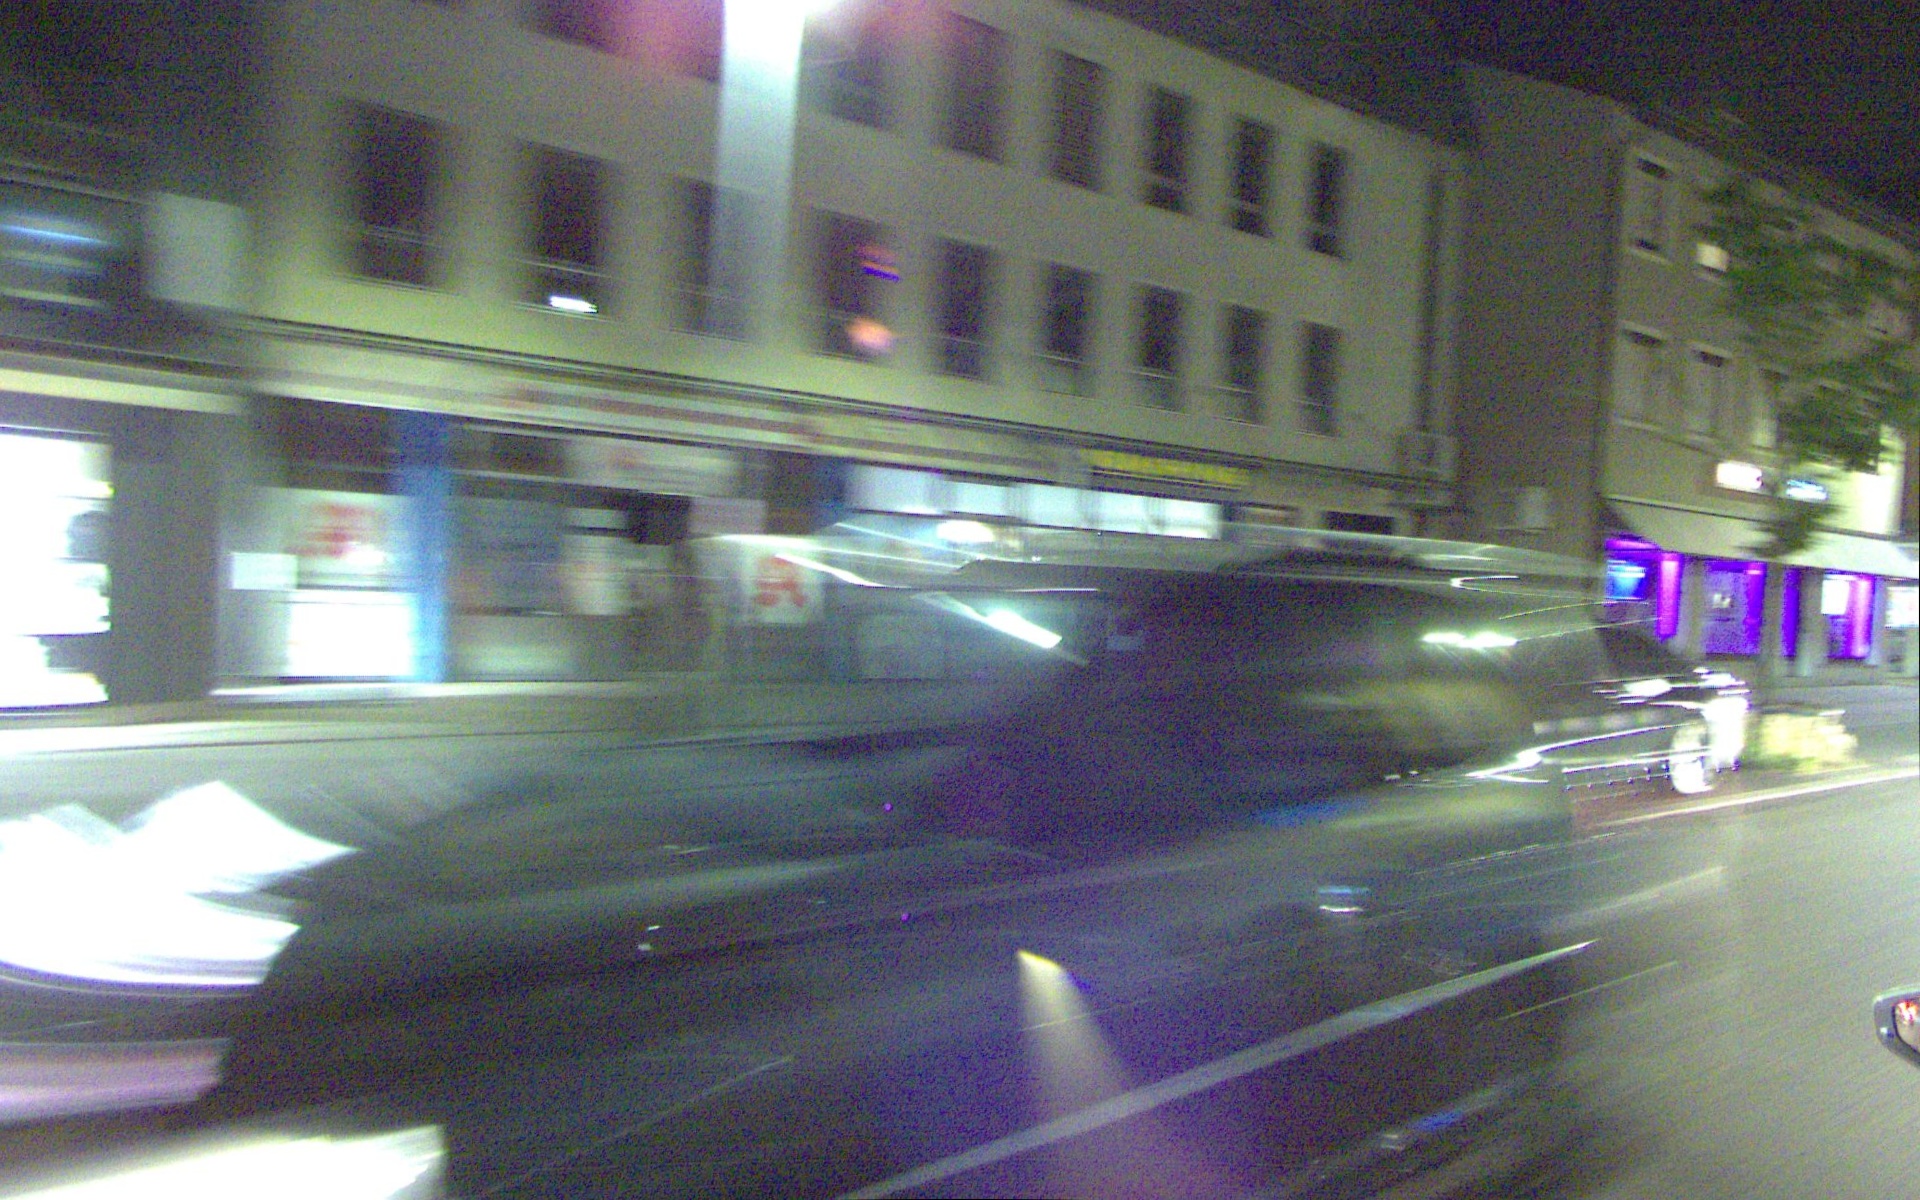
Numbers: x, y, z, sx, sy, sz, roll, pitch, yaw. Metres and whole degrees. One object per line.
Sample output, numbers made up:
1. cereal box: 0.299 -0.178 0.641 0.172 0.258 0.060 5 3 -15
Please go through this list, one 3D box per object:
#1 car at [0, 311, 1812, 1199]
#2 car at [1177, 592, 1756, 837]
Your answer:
1. car: 0.317 0.603 2.705 4.258 1.667 1.739 2 0 -31
2. car: 4.267 0.754 8.225 4.874 1.438 1.886 2 2 -31
